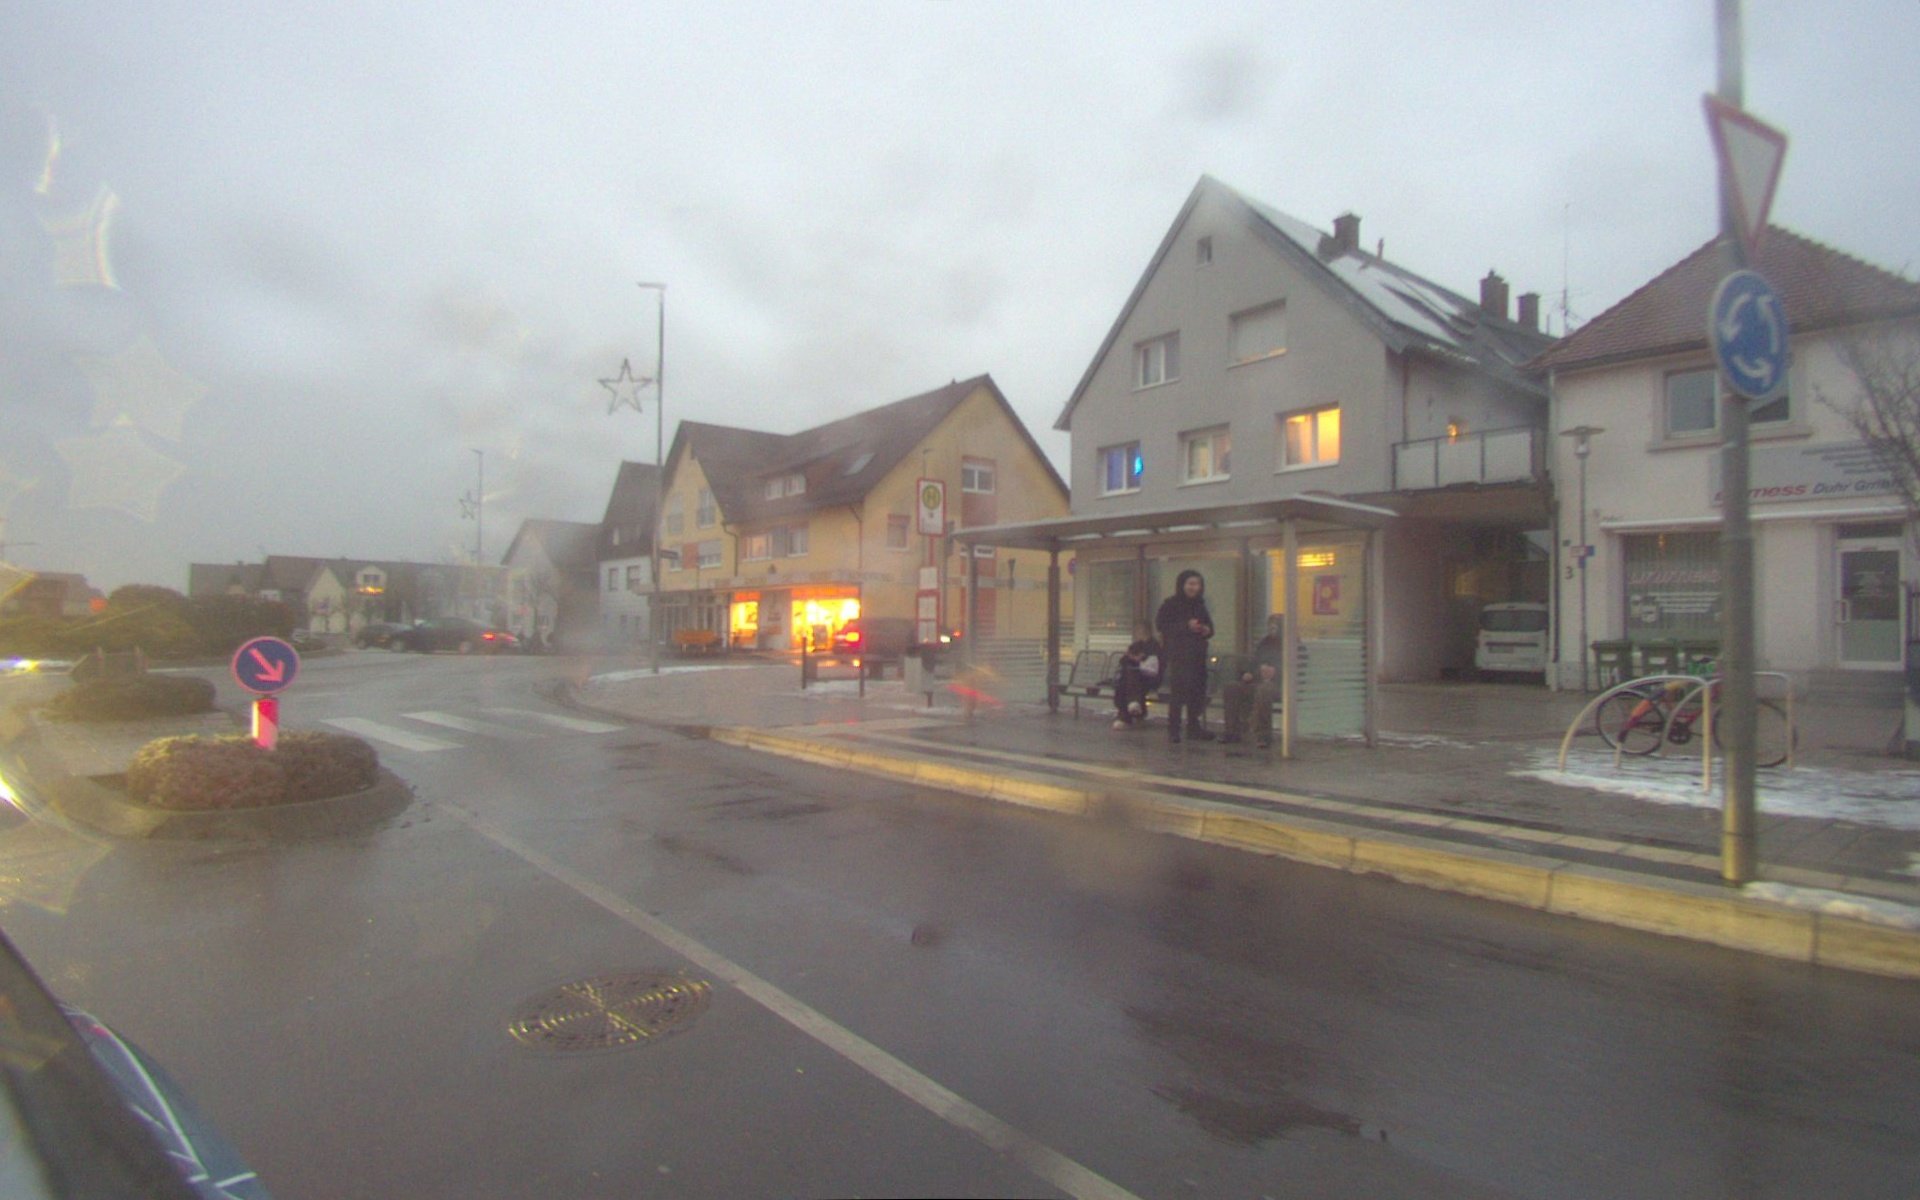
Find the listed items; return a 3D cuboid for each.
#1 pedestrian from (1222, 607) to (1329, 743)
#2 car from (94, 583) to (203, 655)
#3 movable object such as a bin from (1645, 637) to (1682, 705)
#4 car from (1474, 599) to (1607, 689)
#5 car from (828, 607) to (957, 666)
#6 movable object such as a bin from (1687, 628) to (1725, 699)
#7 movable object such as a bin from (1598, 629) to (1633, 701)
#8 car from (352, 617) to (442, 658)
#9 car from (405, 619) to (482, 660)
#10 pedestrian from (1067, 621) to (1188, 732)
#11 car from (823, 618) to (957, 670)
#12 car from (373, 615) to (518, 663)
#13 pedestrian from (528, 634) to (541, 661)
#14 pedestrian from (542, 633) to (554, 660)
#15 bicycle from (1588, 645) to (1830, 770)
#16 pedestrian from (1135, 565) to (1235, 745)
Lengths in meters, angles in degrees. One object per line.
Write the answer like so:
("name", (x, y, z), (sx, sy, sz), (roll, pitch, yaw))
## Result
("pedestrian", (3.141, 0.722, 10.072), (0.677, 1.281, 0.751), (-1, -1, -44))
("car", (-24.650, 0.509, 30.896), (2.024, 2.002, 4.551), (0, 1, -32))
("movable object such as a bin", (12.079, 1.208, 17.379), (0.284, 1.129, 0.454), (0, 1, -43))
("car", (13.006, 0.953, 22.618), (3.373, 1.867, 1.516), (1, -1, -40))
("car", (-2.527, 1.299, 38.062), (4.389, 2.029, 2.006), (0, 1, -32))
("movable object such as a bin", (12.483, 1.049, 16.928), (0.284, 1.151, 0.454), (0, 1, -43))
("movable object such as a bin", (11.591, 1.143, 17.902), (0.284, 1.219, 0.454), (0, 1, -43))
("car", (-29.705, 1.952, 53.445), (3.963, 2.010, 1.962), (1, 1, 15))
("car", (-28.465, 2.147, 55.789), (3.953, 2.029, 1.908), (1, 1, 28))
("pedestrian", (1.902, 0.848, 11.504), (0.976, 1.167, 0.903), (0, -3, -39))
("car", (-2.203, 1.349, 31.816), (3.831, 1.514, 1.713), (0, -1, -27))
("car", (-18.520, 1.386, 36.537), (4.314, 1.617, 1.888), (0, 1, 2))
("pedestrian", (-25.727, 2.873, 61.217), (0.574, 1.623, 0.500), (0, 1, -44))
("pedestrian", (-25.316, 2.846, 62.185), (0.574, 1.623, 0.500), (0, 1, -44))
("bicycle", (6.887, 0.945, 9.407), (0.463, 1.018, 1.744), (1, -2, -32))
("pedestrian", (2.309, 0.542, 10.398), (0.687, 1.755, 0.740), (-2, -1, 41))
